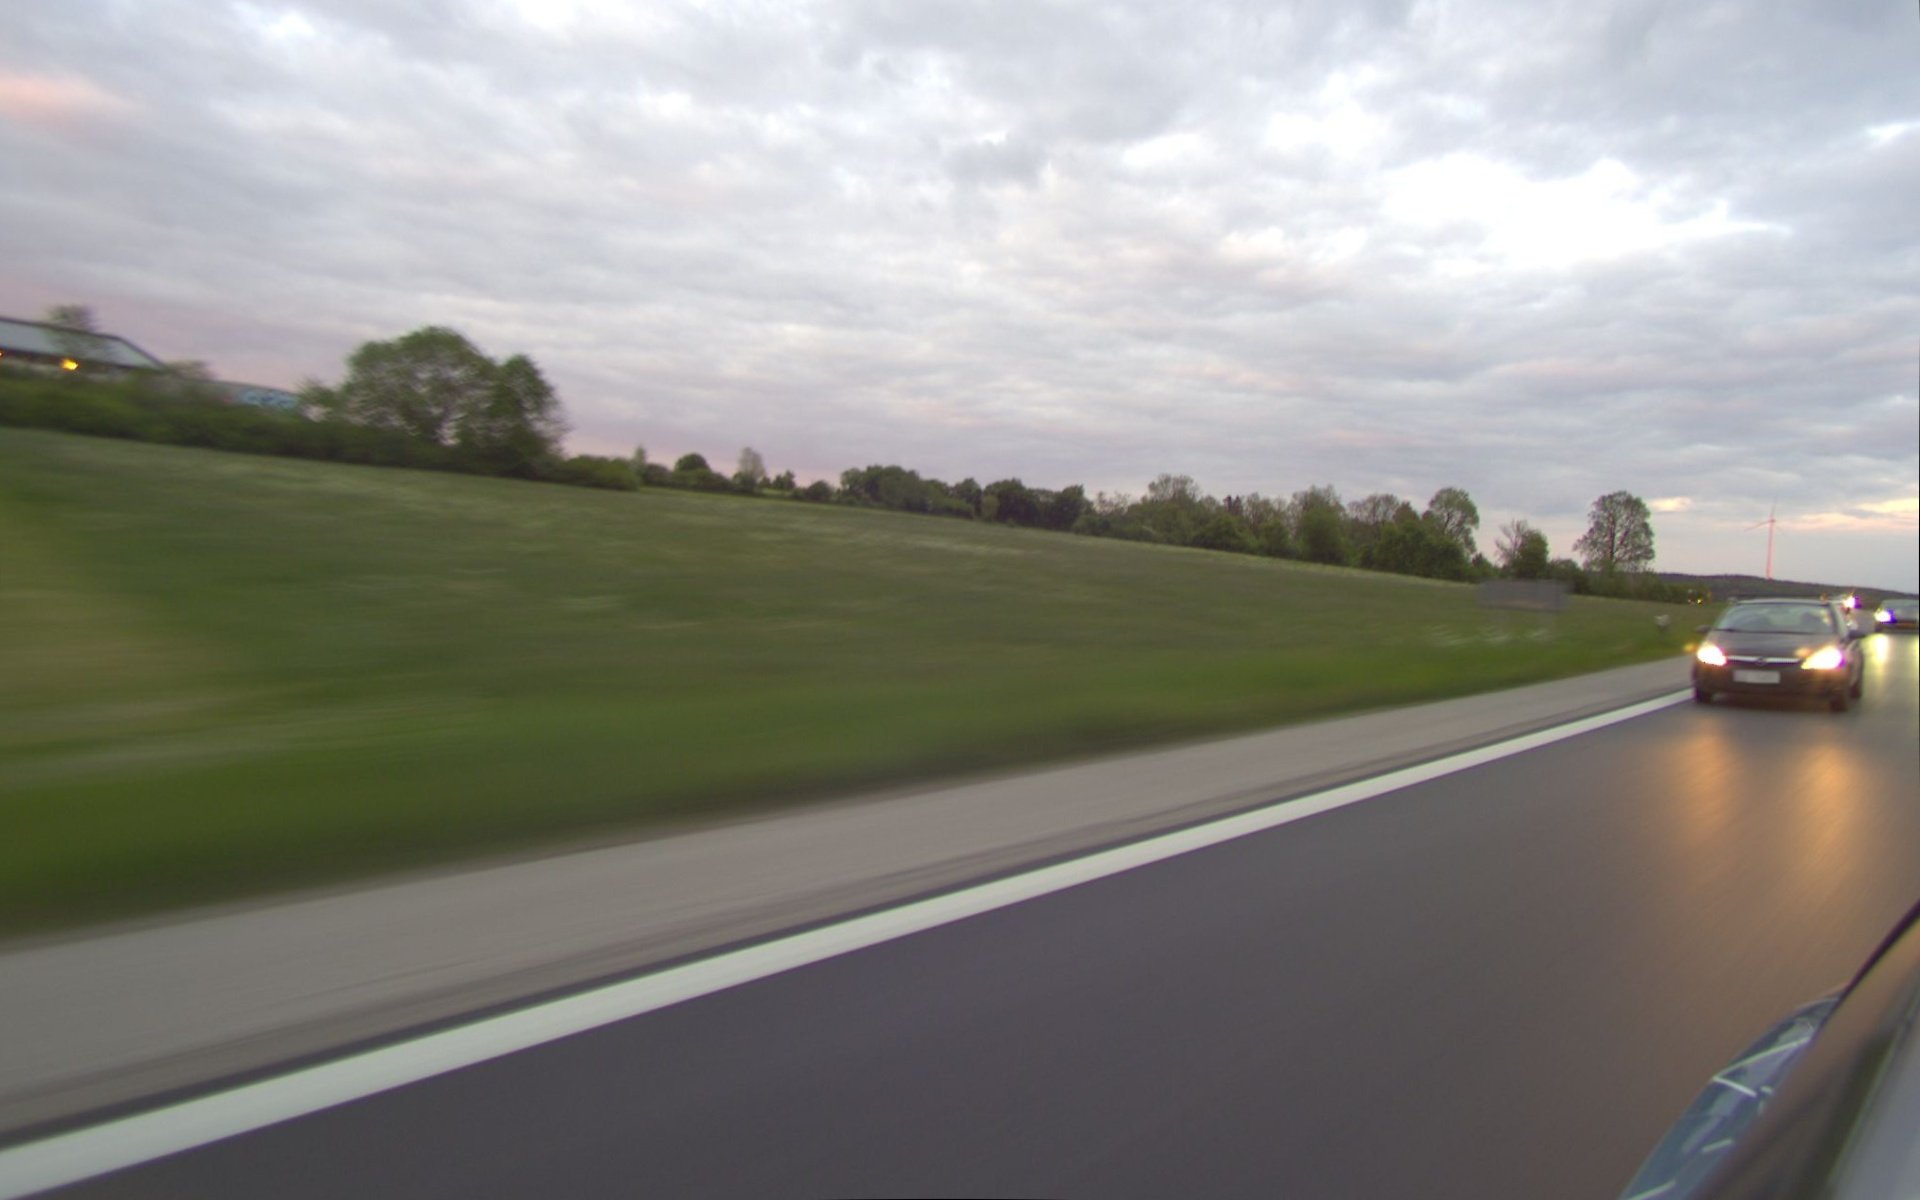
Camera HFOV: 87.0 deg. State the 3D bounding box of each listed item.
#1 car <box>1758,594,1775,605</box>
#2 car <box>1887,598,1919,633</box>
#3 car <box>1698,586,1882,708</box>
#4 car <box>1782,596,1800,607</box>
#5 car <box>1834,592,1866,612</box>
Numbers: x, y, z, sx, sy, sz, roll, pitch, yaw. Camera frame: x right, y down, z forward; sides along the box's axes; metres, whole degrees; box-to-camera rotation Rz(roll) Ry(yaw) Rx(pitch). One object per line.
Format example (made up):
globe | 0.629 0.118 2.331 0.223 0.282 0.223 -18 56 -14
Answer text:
car | 139.503 -0.082 175.049 1.790 1.665 4.047 1 1 32
car | 41.283 0.661 43.606 1.880 1.413 3.937 3 3 44
car | 12.144 0.572 14.722 3.935 1.532 1.678 0 1 -45
car | 127.910 0.225 155.840 1.792 1.665 4.043 1 2 35
car | 89.593 0.159 101.935 1.909 1.860 3.950 3 2 35
